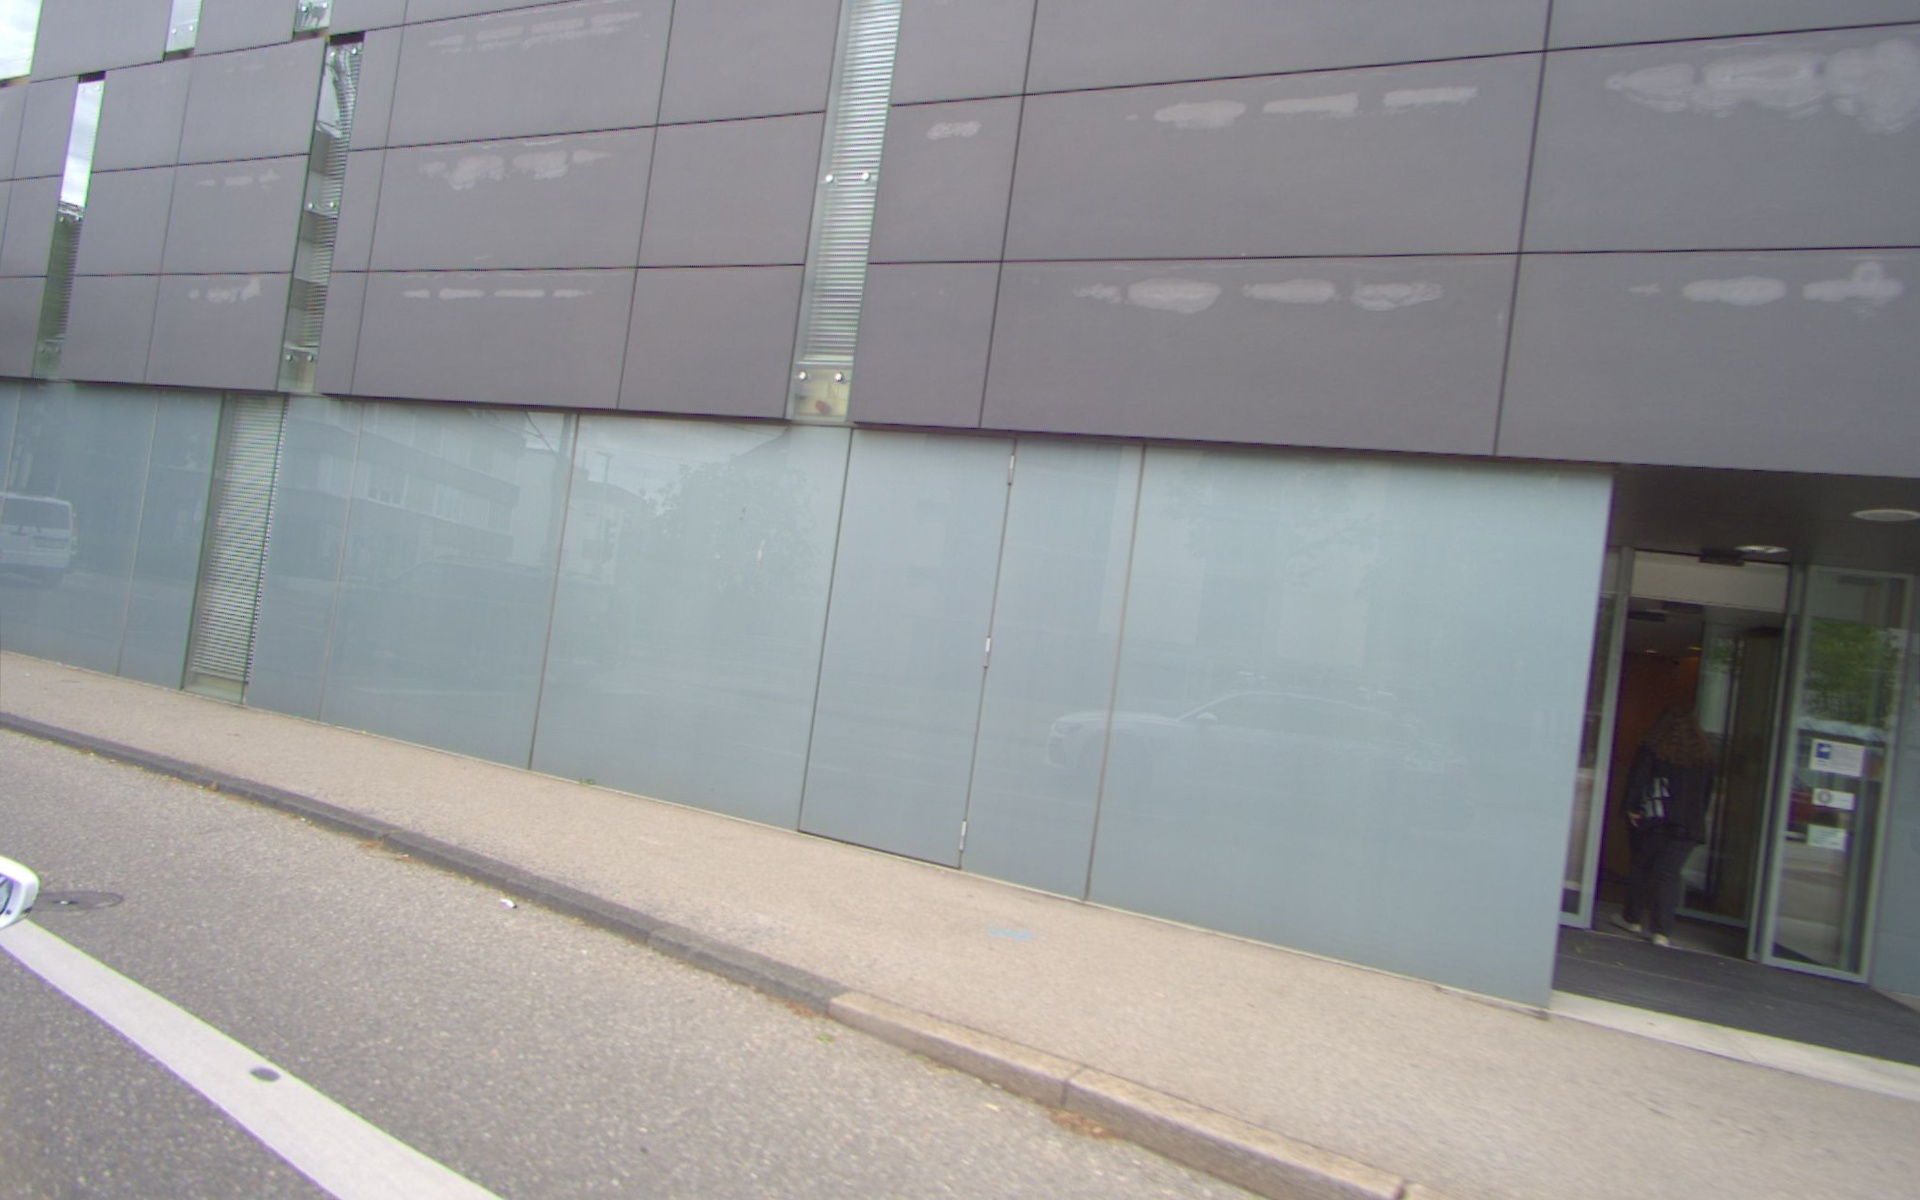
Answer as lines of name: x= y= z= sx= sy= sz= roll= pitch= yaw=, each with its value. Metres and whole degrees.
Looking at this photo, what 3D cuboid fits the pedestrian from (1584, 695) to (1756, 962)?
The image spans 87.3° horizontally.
pedestrian: x=5.134 y=1.596 z=7.335 sx=0.701 sy=1.714 sz=0.865 roll=7 pitch=-1 yaw=24
